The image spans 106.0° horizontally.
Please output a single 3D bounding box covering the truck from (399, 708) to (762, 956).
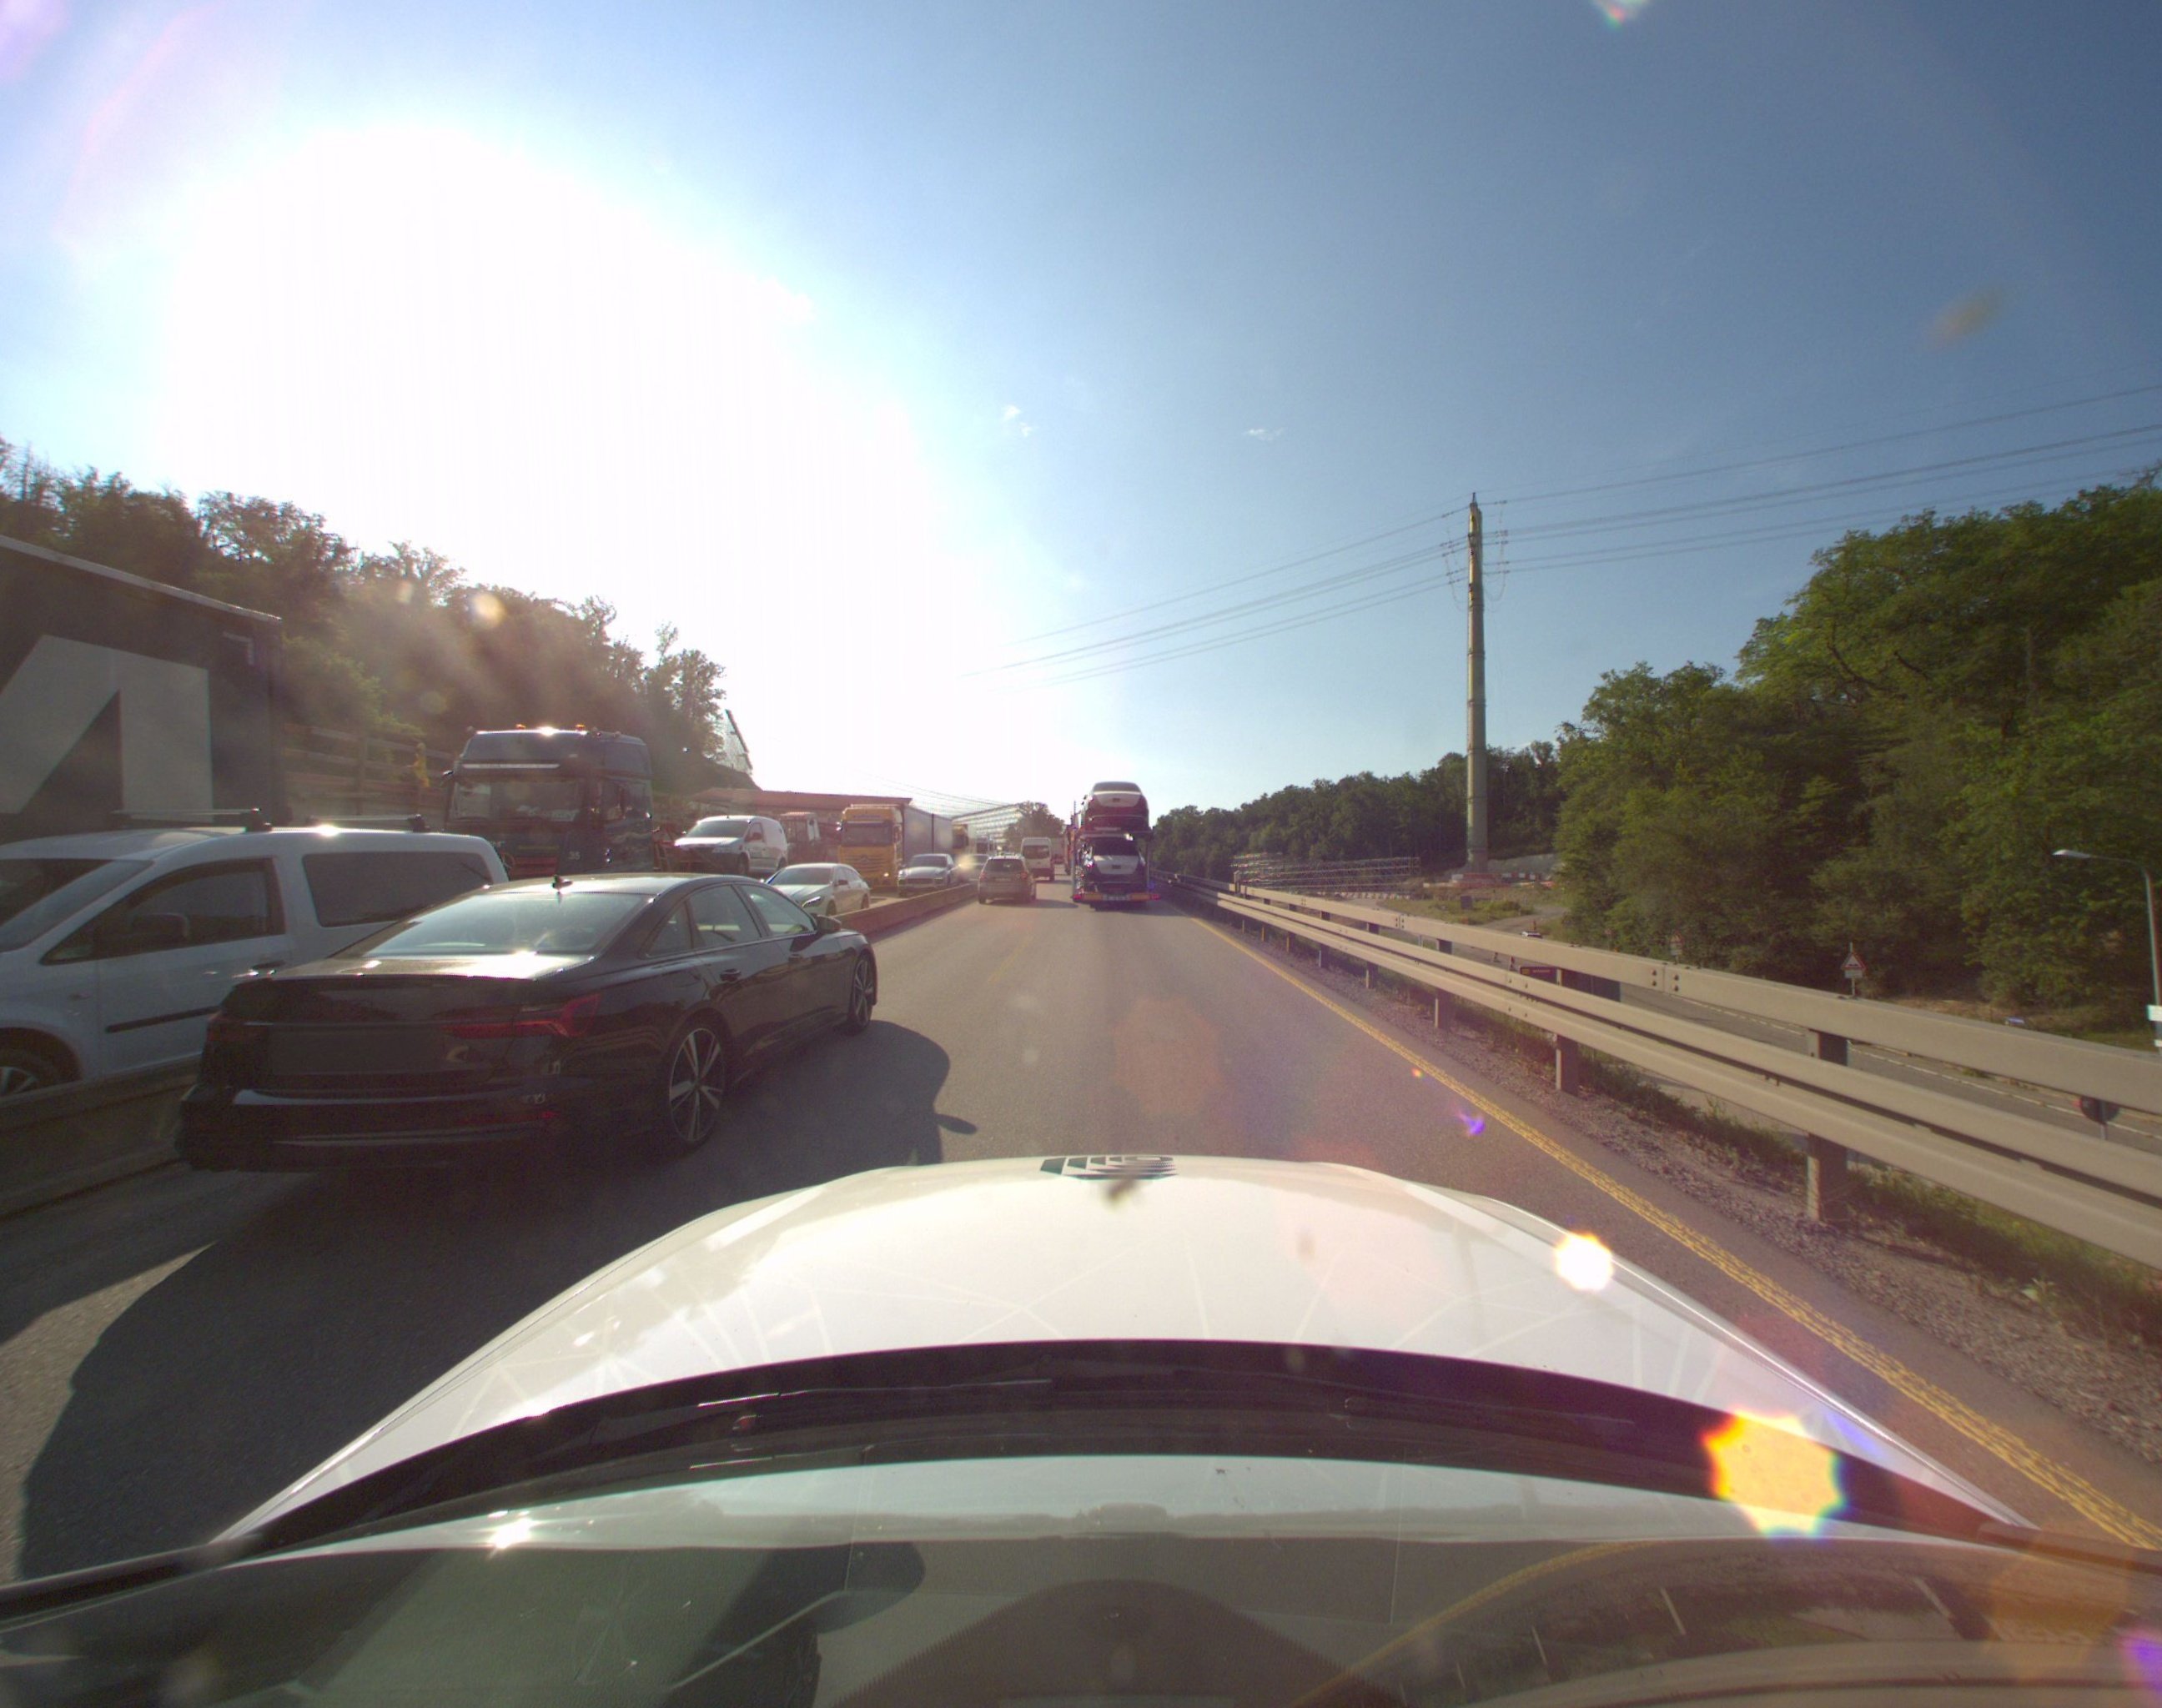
[{"bbox_3d":[-9.241,-0.317,16.320,2.740,3.805,7.111,-2,-1,0],"label":"truck"}]

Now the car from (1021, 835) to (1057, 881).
[{"bbox_3d":[-2.519,0.269,49.718,1.974,2.684,4.144,-1,-1,-1],"label":"car"}]

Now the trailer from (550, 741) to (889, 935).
[{"bbox_3d":[-9.159,-0.240,24.362,2.739,3.816,16.046,-2,-1,1],"label":"trailer"}]

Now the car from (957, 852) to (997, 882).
[{"bbox_3d":[-6.356,0.805,50.353,1.921,1.702,4.689,-1,-1,-1],"label":"car"}]

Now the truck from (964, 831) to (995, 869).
[{"bbox_3d":[-11.582,-0.282,93.836,2.804,3.970,13.870,0,-1,-4],"label":"truck"}]

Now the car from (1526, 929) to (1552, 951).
[{"bbox_3d":[38.685,7.253,68.779,1.511,1.461,4.295,-2,-1,34],"label":"car"}]

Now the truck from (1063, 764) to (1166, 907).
[{"bbox_3d":[1.006,-0.461,25.778,2.859,3.980,5.772,-1,-1,1],"label":"truck"}]

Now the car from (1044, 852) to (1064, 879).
[{"bbox_3d":[-2.209,0.950,65.845,1.525,2.014,3.995,2,-1,-3],"label":"car"}]

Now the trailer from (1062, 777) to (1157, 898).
[{"bbox_3d":[0.783,-0.416,34.666,2.867,3.994,15.264,-1,-1,-2],"label":"trailer"}]

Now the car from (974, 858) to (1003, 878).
[{"bbox_3d":[-7.278,1.116,64.683,1.783,1.498,4.722,-1,-1,-1],"label":"car"}]

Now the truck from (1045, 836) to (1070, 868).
[{"bbox_3d":[-3.736,-0.333,127.775,3.639,4.677,11.685,0,0,-2],"label":"truck"}]

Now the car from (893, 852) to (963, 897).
[{"bbox_3d":[-6.078,0.824,32.878,1.953,1.645,4.846,-1,-1,-1],"label":"car"}]

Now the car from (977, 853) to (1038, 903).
[{"bbox_3d":[-2.465,0.812,28.147,1.695,1.587,4.146,-1,-1,0],"label":"car"}]

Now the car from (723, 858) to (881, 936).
[{"bbox_3d":[-6.183,0.896,18.715,1.796,1.522,4.818,-2,-1,2],"label":"car"}]

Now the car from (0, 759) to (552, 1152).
[{"bbox_3d":[-6.253,0.579,5.619,1.818,1.933,5.128,-3,-1,-1],"label":"car"}]

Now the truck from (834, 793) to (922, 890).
[{"bbox_3d":[-9.333,-0.503,38.017,2.693,4.141,5.791,-1,-1,-1],"label":"truck"}]

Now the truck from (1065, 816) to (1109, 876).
[{"bbox_3d":[0.351,-0.640,69.282,3.220,4.677,11.686,0,0,-2],"label":"truck"}]

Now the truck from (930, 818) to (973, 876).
[{"bbox_3d":[-9.693,-0.471,61.218,2.687,4.197,4.393,-1,-1,-3],"label":"truck"}]

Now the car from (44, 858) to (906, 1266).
[{"bbox_3d":[-2.842,0.811,5.655,1.933,1.480,5.224,-1,-1,2],"label":"car"}]

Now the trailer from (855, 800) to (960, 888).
[{"bbox_3d":[-9.485,-0.320,47.027,2.707,4.135,16.742,-1,-1,-1],"label":"trailer"}]

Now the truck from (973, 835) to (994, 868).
[{"bbox_3d":[-13.134,-0.265,109.928,2.440,4.272,6.310,-1,-1,-5],"label":"truck"}]

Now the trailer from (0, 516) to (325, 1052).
[{"bbox_3d":[-9.717,-0.547,2.585,2.705,4.123,12.494,-2,-1,1],"label":"trailer"}]
